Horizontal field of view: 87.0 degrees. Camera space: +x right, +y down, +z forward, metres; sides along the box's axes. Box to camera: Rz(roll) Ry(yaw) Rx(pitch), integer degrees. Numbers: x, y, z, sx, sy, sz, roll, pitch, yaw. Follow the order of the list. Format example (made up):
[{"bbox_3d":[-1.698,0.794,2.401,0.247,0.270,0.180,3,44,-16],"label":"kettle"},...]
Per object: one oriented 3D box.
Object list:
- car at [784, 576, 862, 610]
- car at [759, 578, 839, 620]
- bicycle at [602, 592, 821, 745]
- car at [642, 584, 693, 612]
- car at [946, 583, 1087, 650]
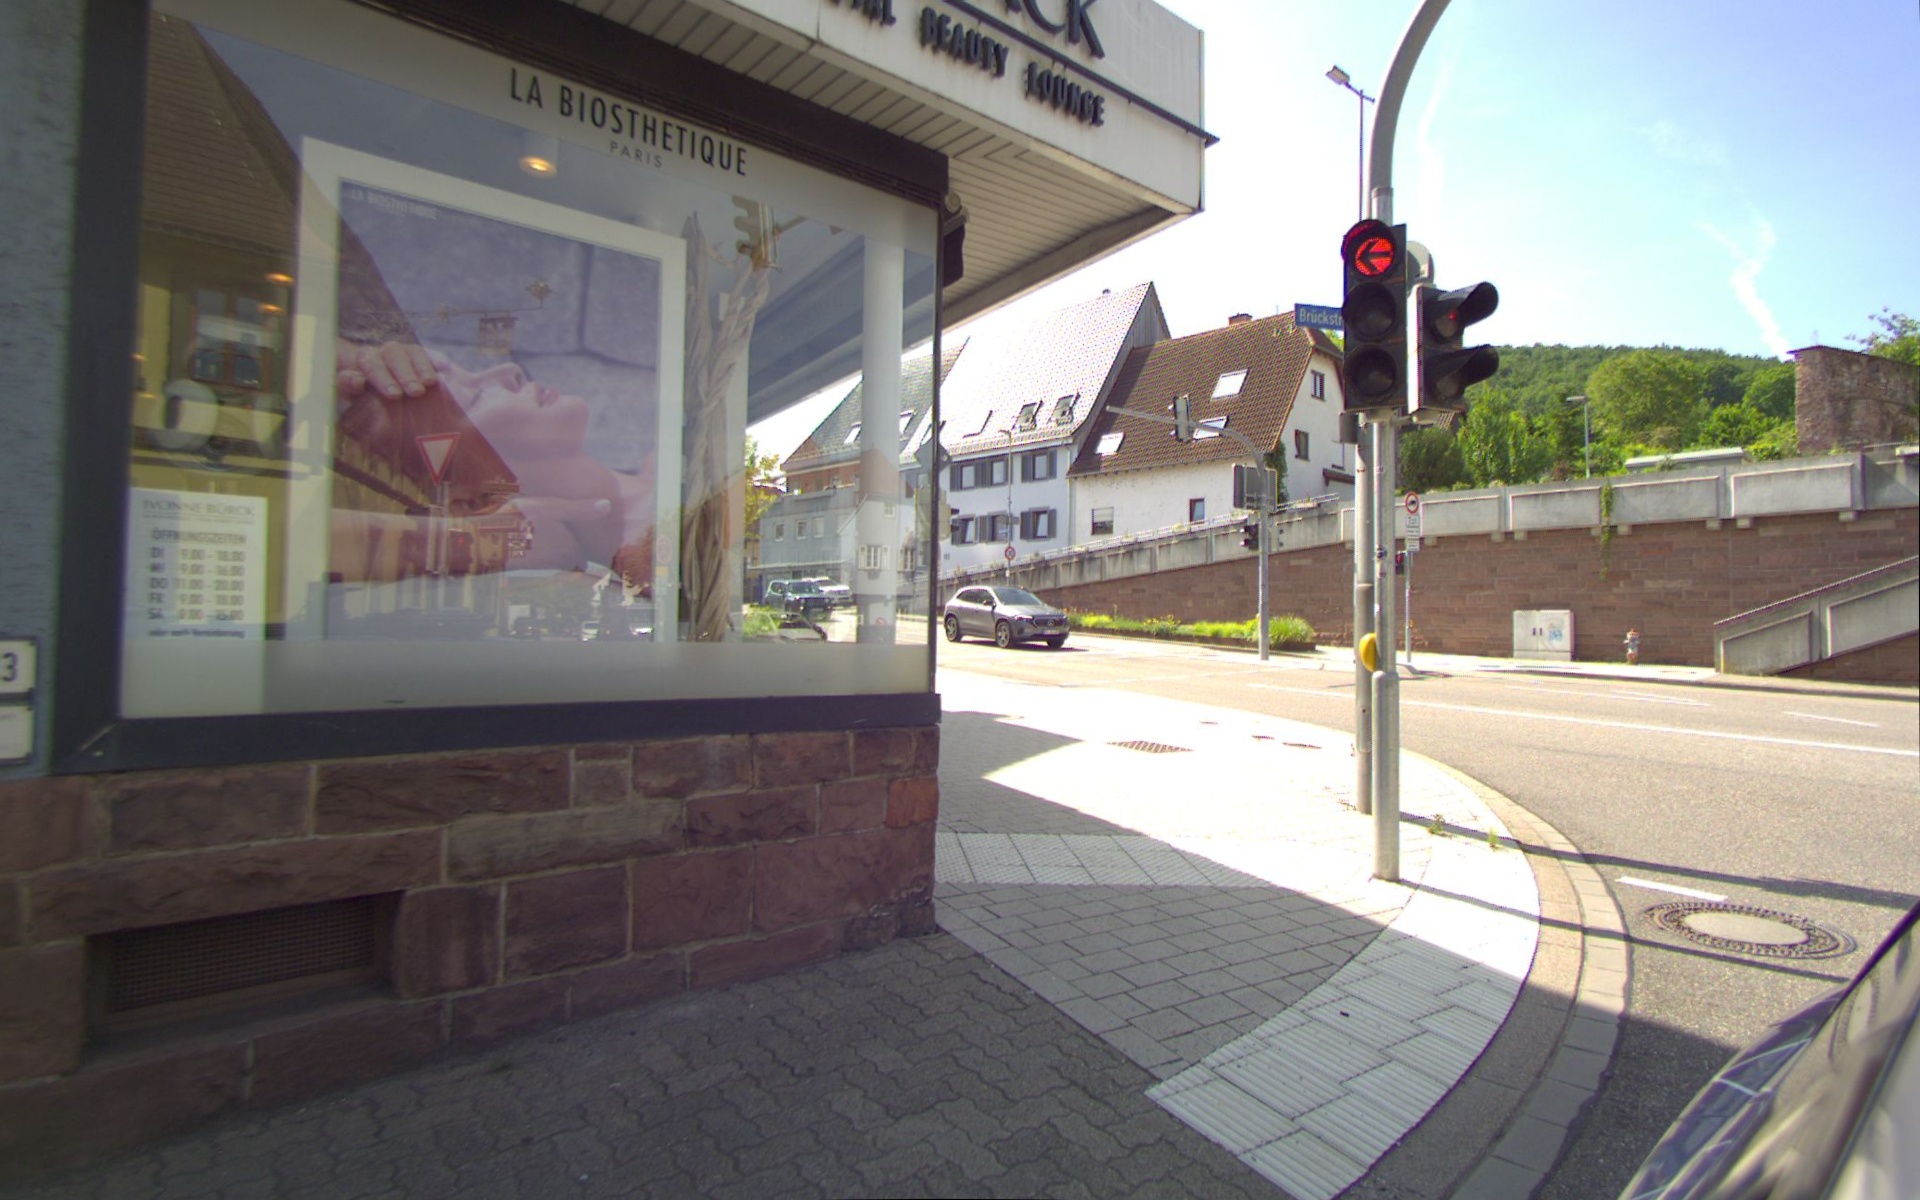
[{"bbox_3d":[-7.754,-0.384,56.925,1.778,1.821,5.278,0,0,-40],"label":"car"},{"bbox_3d":[-6.786,-0.064,42.386,1.758,1.673,4.396,1,0,-32],"label":"car"},{"bbox_3d":[-2.170,0.582,8.926,1.772,1.250,0.550,2,-1,-29],"label":"bicycle"},{"bbox_3d":[-16.852,-0.130,58.223,1.746,1.561,4.101,0,0,-32],"label":"car"},{"bbox_3d":[1.394,0.360,26.904,1.704,1.593,4.295,-1,1,-29],"label":"car"}]
